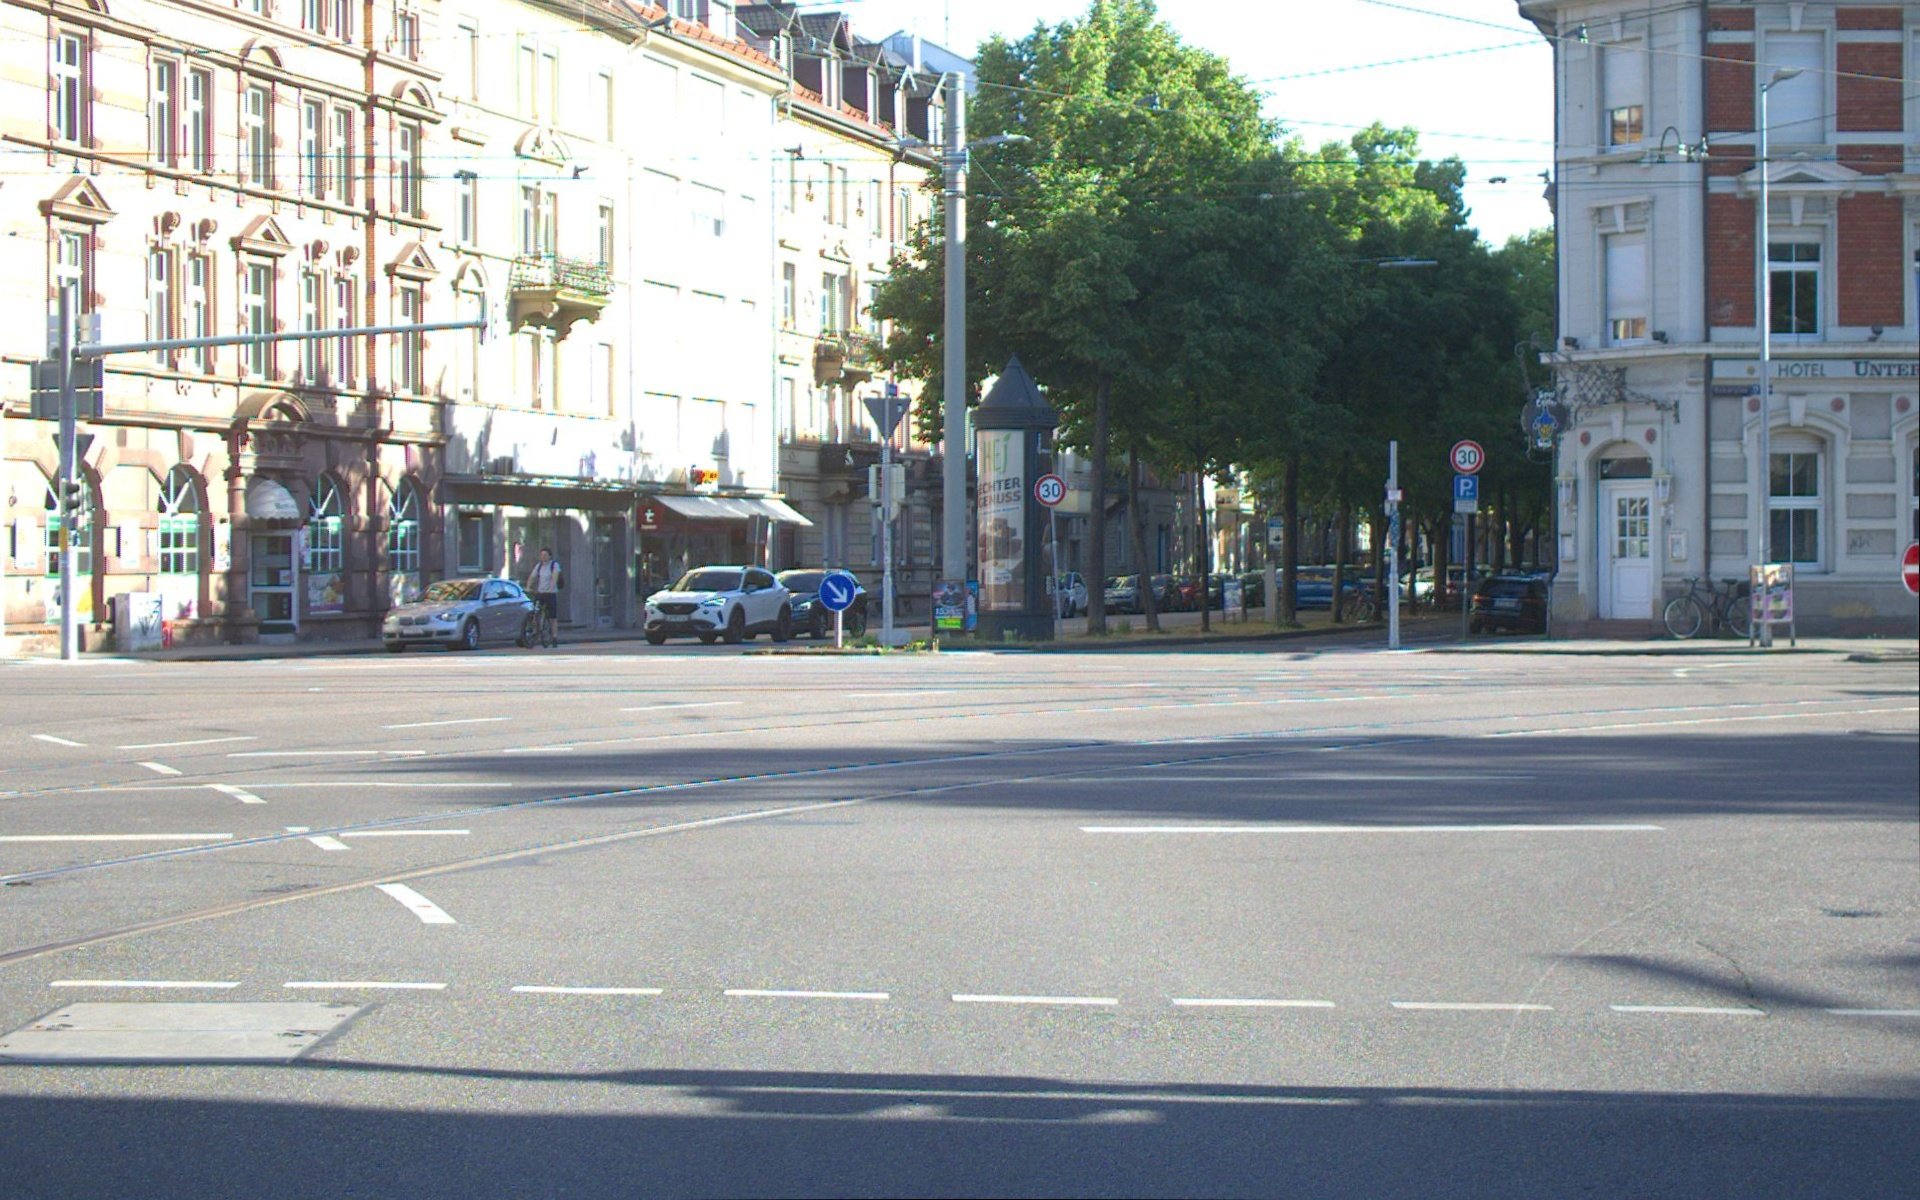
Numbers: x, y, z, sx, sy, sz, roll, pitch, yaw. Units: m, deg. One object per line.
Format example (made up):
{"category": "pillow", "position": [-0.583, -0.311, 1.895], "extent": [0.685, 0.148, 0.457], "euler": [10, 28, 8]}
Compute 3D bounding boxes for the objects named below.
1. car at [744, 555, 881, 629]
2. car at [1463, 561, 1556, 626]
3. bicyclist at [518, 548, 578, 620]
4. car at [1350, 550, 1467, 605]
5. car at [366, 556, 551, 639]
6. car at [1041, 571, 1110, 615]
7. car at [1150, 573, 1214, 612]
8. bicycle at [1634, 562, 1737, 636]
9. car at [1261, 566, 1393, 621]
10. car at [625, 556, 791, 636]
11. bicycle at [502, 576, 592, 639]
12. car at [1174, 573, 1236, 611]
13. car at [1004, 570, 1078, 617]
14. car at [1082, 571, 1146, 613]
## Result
{"category": "car", "position": [-3.126, -0.186, 73.533], "extent": [1.994, 1.508, 3.998], "euler": [0, 1, 12]}
{"category": "car", "position": [13.171, -0.149, 82.285], "extent": [1.652, 1.519, 3.750], "euler": [0, 0, 17]}
{"category": "bicyclist", "position": [-7.850, -0.311, 65.591], "extent": [0.794, 1.370, 1.107], "euler": [0, 1, 14]}
{"category": "car", "position": [17.414, -0.869, 133.423], "extent": [4.115, 1.912, 1.744], "euler": [3, 1, 21]}
{"category": "car", "position": [-9.774, -0.068, 67.380], "extent": [2.098, 1.540, 4.361], "euler": [0, 1, 14]}
{"category": "car", "position": [3.925, -0.250, 115.805], "extent": [1.741, 1.393, 4.122], "euler": [3, 1, 9]}
{"category": "car", "position": [8.513, -0.306, 131.607], "extent": [1.742, 1.393, 4.121], "euler": [3, 1, 13]}
{"category": "bicycle", "position": [12.065, -0.028, 57.133], "extent": [1.639, 1.218, 0.606], "euler": [0, 1, 16]}
{"category": "car", "position": [12.296, -0.219, 115.225], "extent": [4.113, 1.640, 1.745], "euler": [3, 1, 15]}
{"category": "car", "position": [-4.875, -0.099, 67.165], "extent": [2.098, 1.494, 3.998], "euler": [0, 1, 14]}
{"category": "bicycle", "position": [-7.863, 0.130, 65.628], "extent": [0.751, 1.131, 2.808], "euler": [0, 1, 14]}
{"category": "car", "position": [9.732, -0.341, 136.385], "extent": [1.742, 1.393, 4.121], "euler": [3, 1, 13]}
{"category": "car", "position": [2.601, -0.211, 110.001], "extent": [1.741, 1.393, 4.122], "euler": [3, 1, 9]}
{"category": "car", "position": [5.512, -0.297, 122.783], "extent": [1.741, 1.393, 4.122], "euler": [3, 1, 9]}
